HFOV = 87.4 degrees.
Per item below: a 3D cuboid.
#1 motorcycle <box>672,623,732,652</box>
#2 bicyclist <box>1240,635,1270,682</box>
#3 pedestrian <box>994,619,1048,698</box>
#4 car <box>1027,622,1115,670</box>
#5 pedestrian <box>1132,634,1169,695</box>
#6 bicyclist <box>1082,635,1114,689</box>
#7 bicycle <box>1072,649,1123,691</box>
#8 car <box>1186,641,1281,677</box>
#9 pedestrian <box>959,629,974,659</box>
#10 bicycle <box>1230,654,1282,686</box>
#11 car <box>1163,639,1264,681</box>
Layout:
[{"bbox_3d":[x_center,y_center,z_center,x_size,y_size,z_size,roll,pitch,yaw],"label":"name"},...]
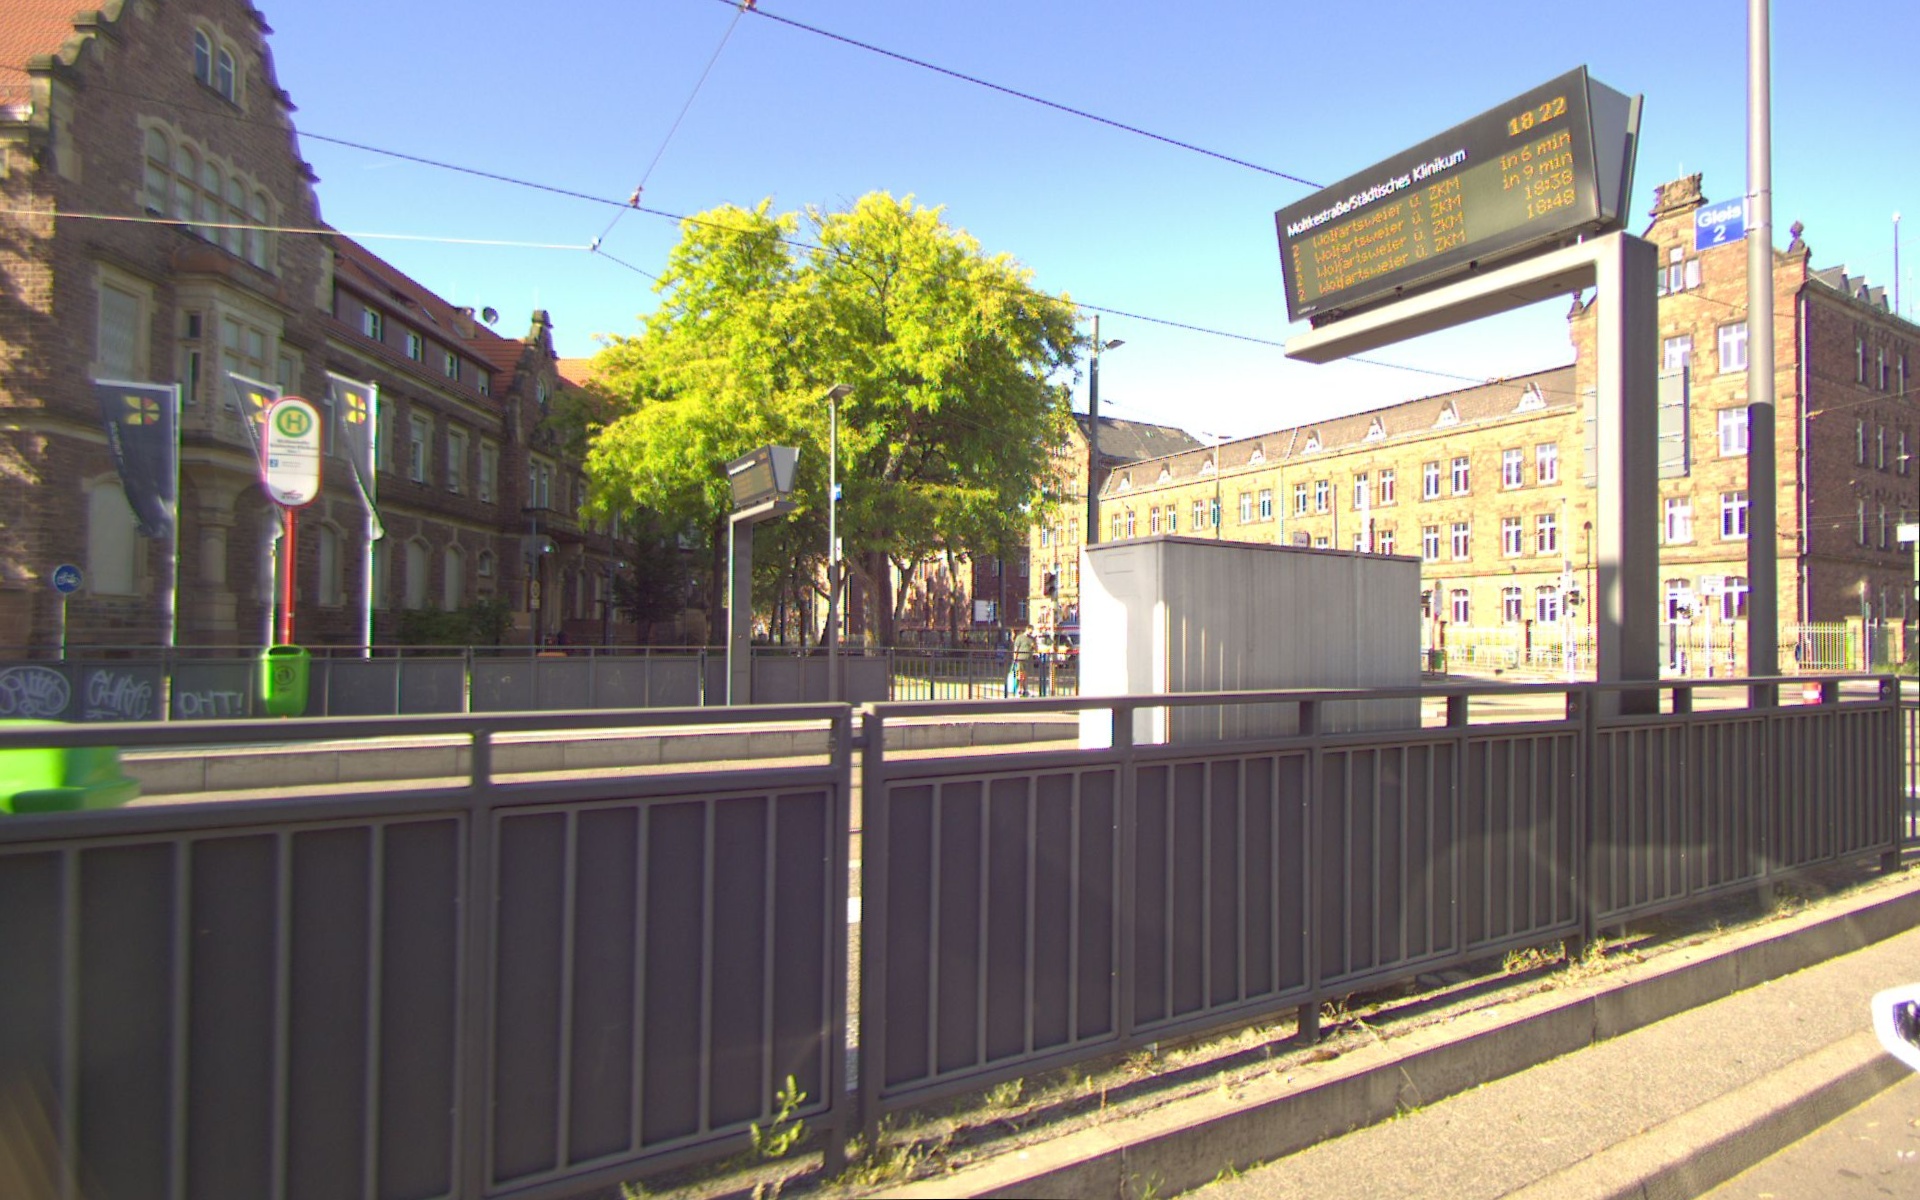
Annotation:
[{"bbox_3d":[-16.651,2.443,65.017,1.288,1.852,3.759,0,-2,38],"label":"motorcycle"},{"bbox_3d":[10.490,2.071,35.676,0.792,1.657,0.631,2,-2,-30],"label":"bicyclist"},{"bbox_3d":[1.500,1.434,24.656,1.082,1.885,0.724,2,-2,-28],"label":"pedestrian"},{"bbox_3d":[5.969,2.471,54.781,2.235,2.485,5.005,2,-2,-30],"label":"car"},{"bbox_3d":[5.045,1.703,26.630,0.816,1.590,0.574,1,-1,-9],"label":"pedestrian"},{"bbox_3d":[3.702,1.661,26.914,0.679,1.402,0.532,0,-2,34],"label":"bicyclist"},{"bbox_3d":[3.687,1.860,26.889,0.682,1.063,1.665,0,-2,34],"label":"bicycle"},{"bbox_3d":[12.126,2.590,44.714,1.853,1.466,4.049,2,-2,-27],"label":"car"},{"bbox_3d":[0.338,2.438,55.174,0.533,1.619,0.712,2,-2,-29],"label":"pedestrian"},{"bbox_3d":[10.487,2.475,35.651,0.792,1.027,1.727,2,-2,-29],"label":"bicycle"},{"bbox_3d":[10.441,2.455,41.602,1.853,1.542,4.049,2,-2,-27],"label":"car"}]
